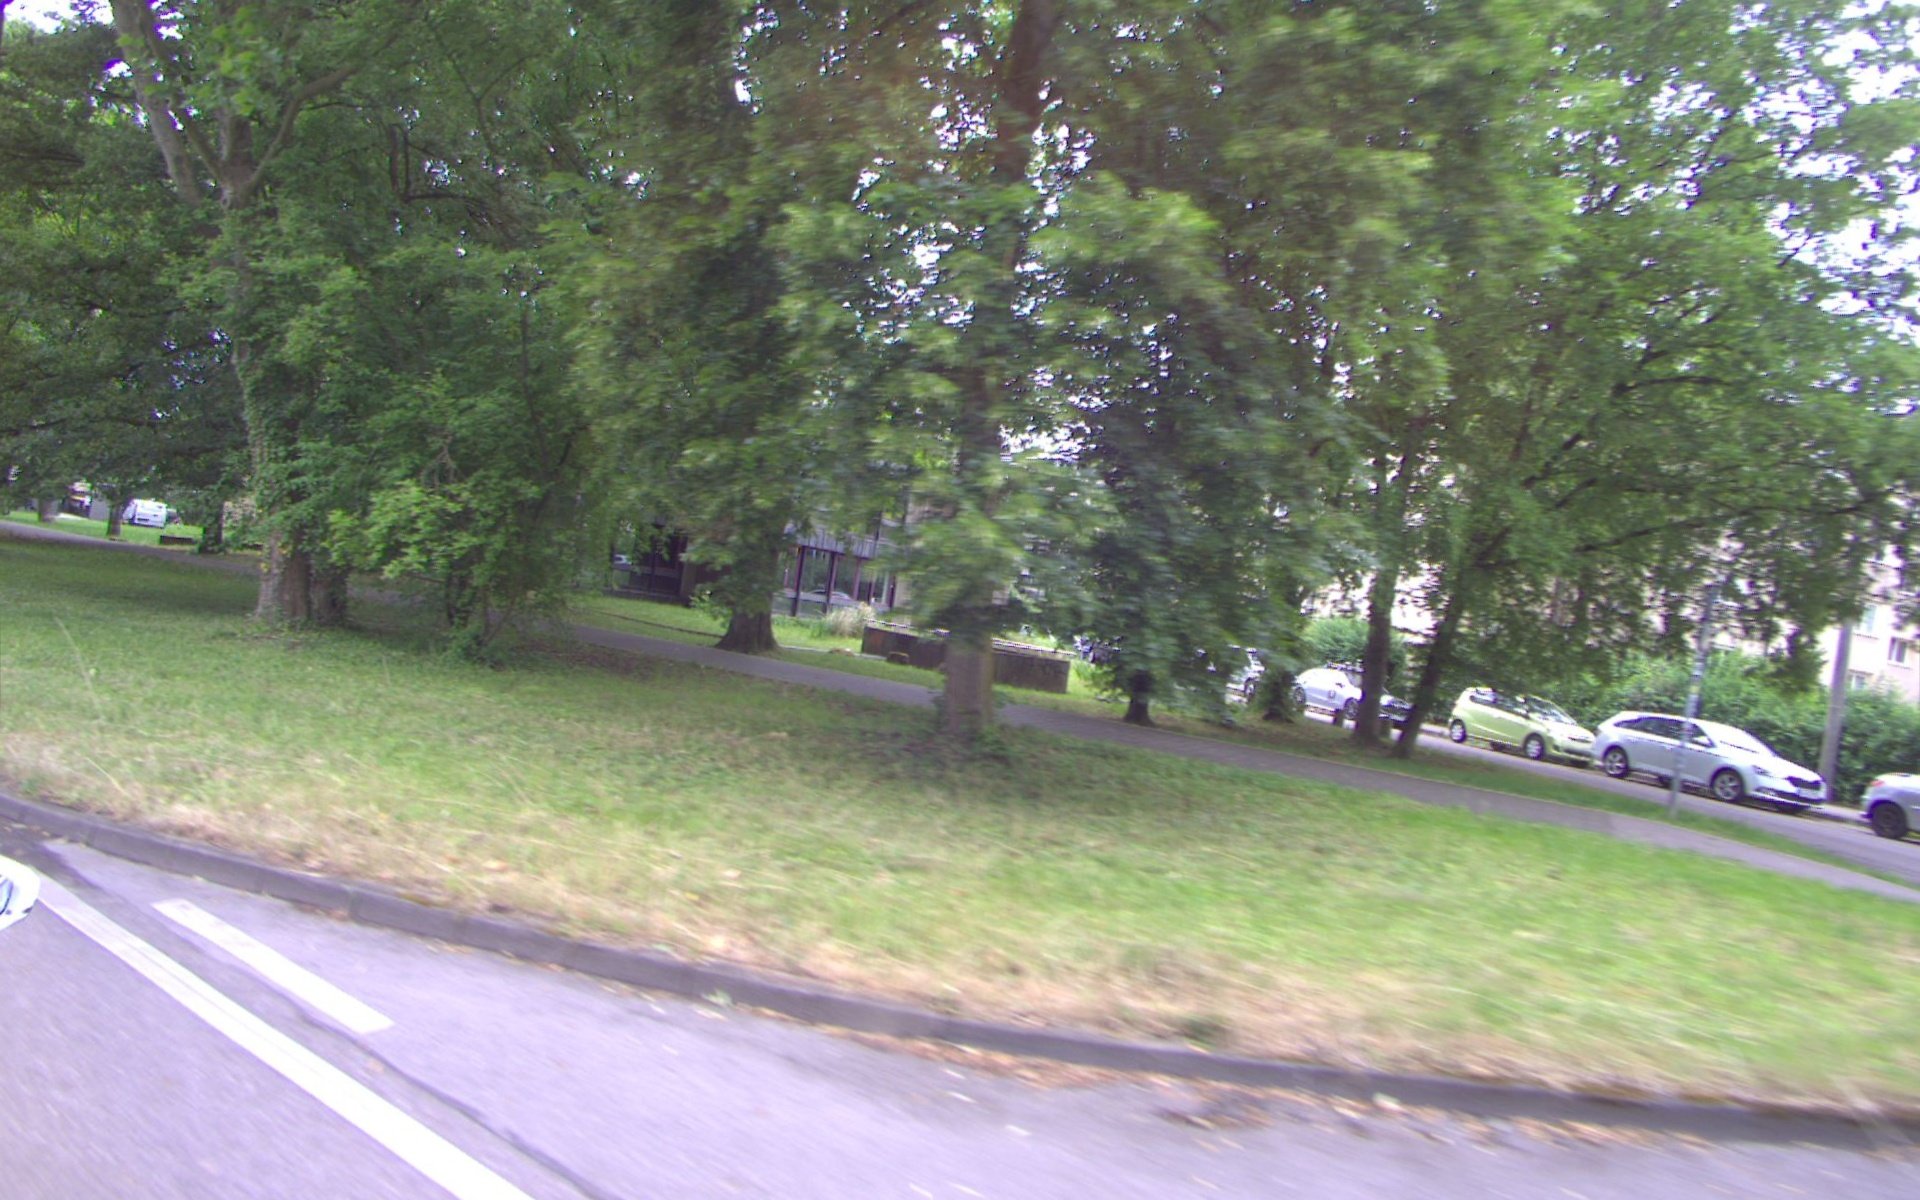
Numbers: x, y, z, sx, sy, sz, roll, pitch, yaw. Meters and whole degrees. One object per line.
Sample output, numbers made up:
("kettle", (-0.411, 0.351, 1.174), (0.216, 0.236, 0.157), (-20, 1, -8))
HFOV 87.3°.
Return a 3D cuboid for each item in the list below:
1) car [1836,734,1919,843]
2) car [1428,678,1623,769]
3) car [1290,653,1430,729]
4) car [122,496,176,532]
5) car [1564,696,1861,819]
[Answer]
("car", (15.865, 3.114, 14.957), (1.769, 1.528, 3.996), (8, -1, -7))
("car", (13.863, 2.979, 24.951), (1.773, 1.528, 3.988), (8, -1, -15))
("car", (12.078, 2.705, 30.644), (1.772, 1.694, 3.988), (8, -1, -15))
("car", (-54.585, -5.808, 67.658), (4.900, 1.866, 2.082), (8, 1, 43))
("car", (14.816, 3.045, 20.210), (1.772, 1.528, 4.593), (8, -1, -13))
